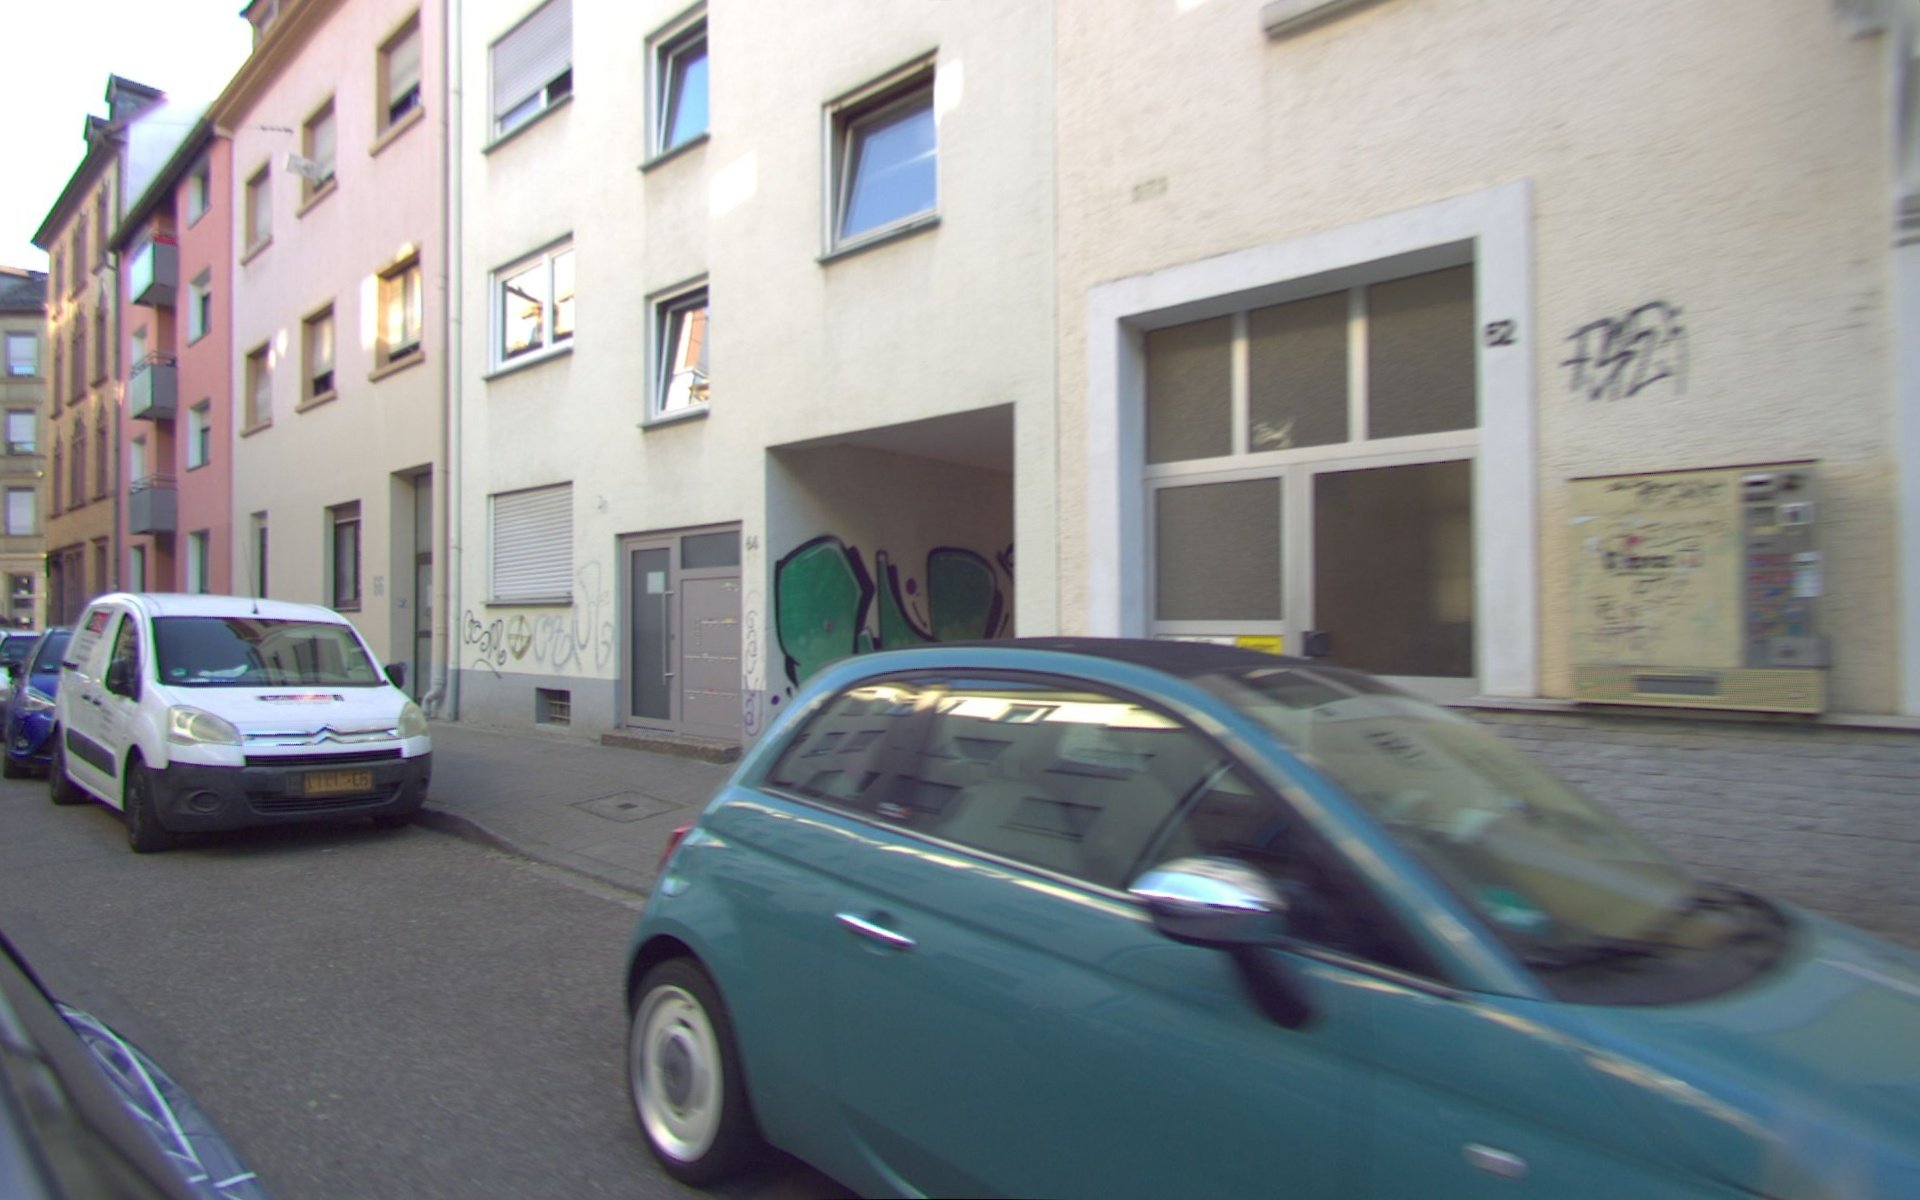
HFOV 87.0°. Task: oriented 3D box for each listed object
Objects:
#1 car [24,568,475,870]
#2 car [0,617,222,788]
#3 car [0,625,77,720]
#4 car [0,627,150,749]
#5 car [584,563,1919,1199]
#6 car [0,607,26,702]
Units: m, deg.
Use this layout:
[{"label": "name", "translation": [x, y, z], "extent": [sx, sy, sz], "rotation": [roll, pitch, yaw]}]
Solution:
[{"label": "car", "translation": [-5.727, 0.763, 7.947], "extent": [4.311, 1.754, 1.732], "rotation": [-1, -4, 39]}, {"label": "car", "translation": [-9.534, 1.003, 11.150], "extent": [1.651, 1.539, 4.088], "rotation": [5, -4, -44]}, {"label": "car", "translation": [-16.449, 1.157, 17.071], "extent": [3.813, 1.483, 1.746], "rotation": [-1, -4, 41]}, {"label": "car", "translation": [-12.857, 1.126, 14.071], "extent": [4.081, 1.470, 1.654], "rotation": [-1, -4, 40]}, {"label": "car", "translation": [0.719, 0.756, 2.327], "extent": [3.486, 1.462, 1.575], "rotation": [-1, -4, 44]}, {"label": "car", "translation": [-20.518, 1.052, 20.544], "extent": [4.100, 1.838, 1.746], "rotation": [-1, -4, 41]}]
